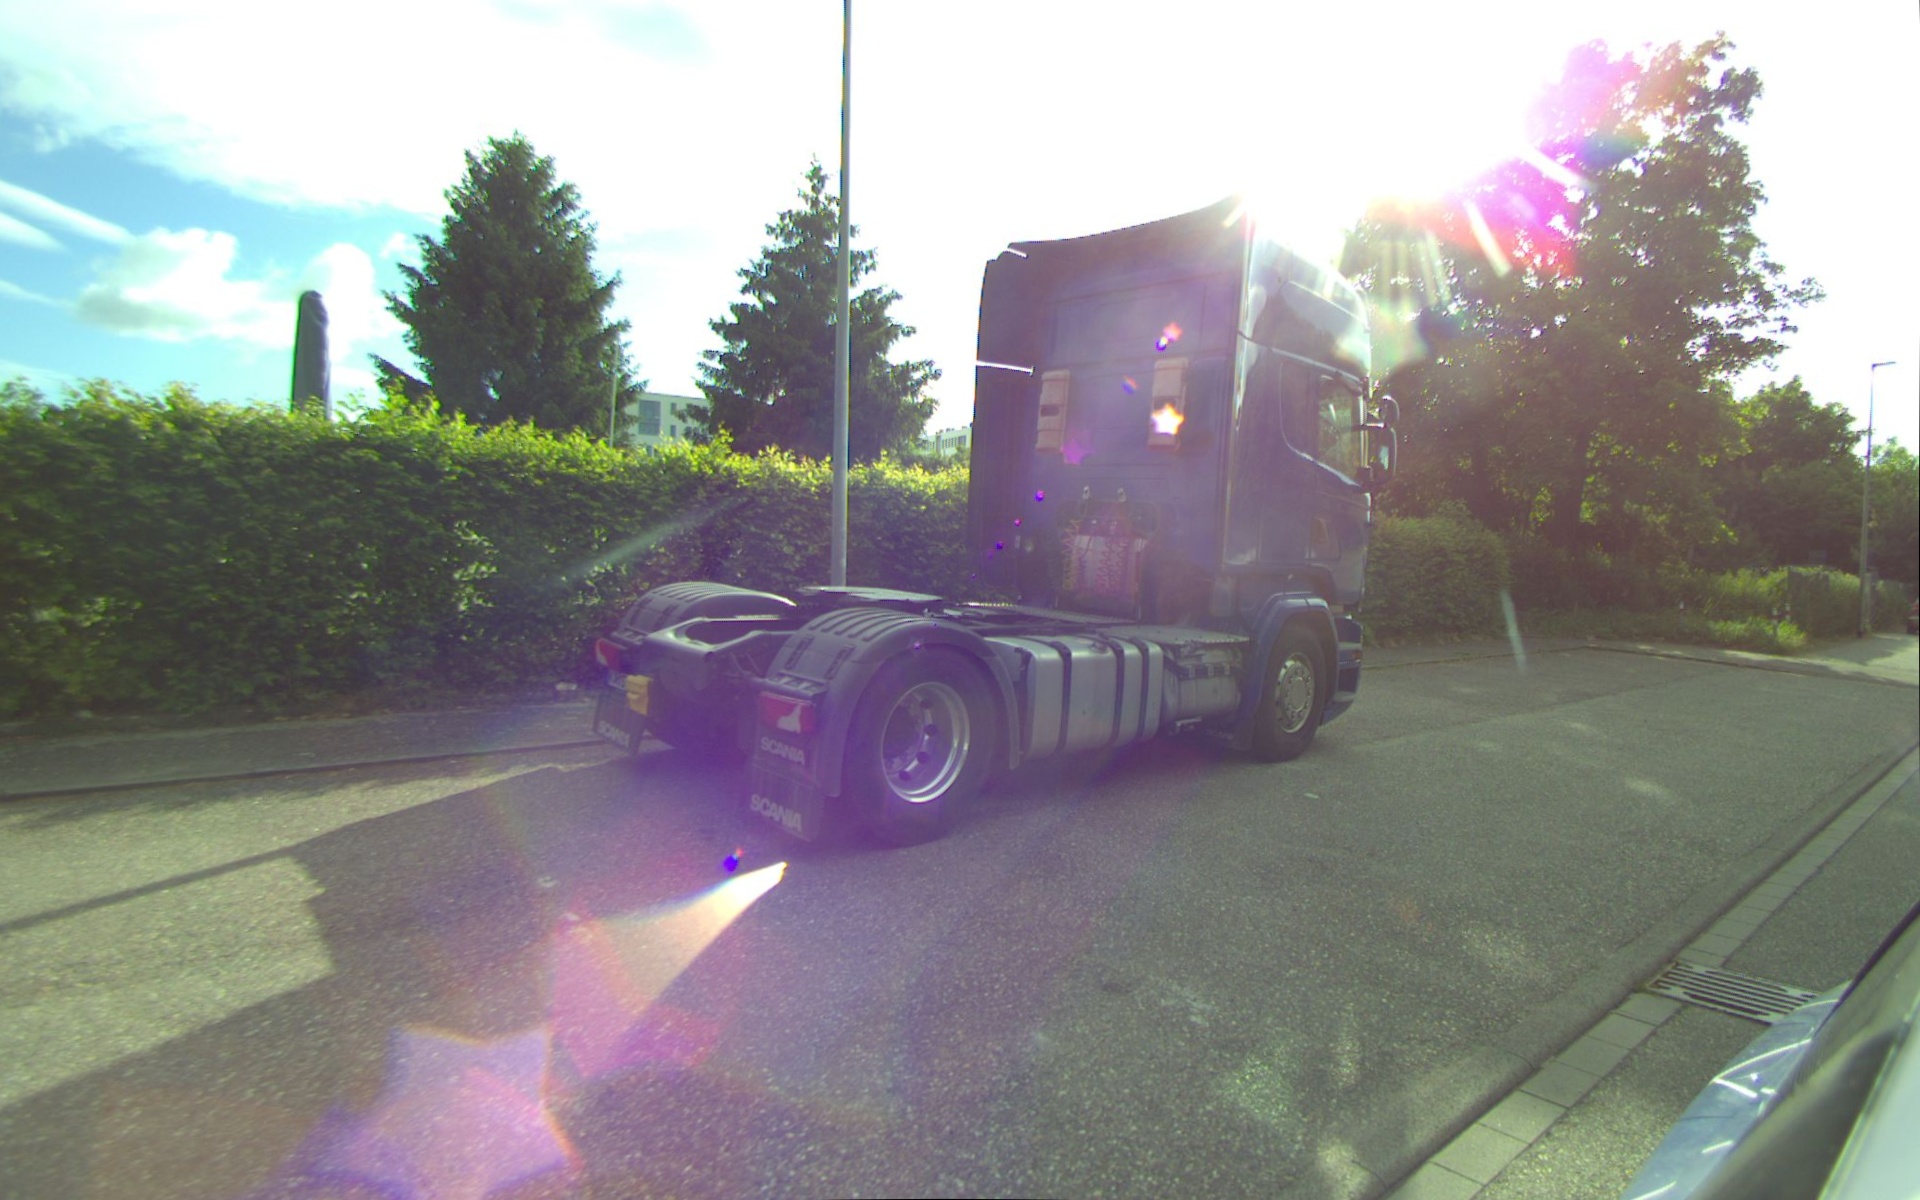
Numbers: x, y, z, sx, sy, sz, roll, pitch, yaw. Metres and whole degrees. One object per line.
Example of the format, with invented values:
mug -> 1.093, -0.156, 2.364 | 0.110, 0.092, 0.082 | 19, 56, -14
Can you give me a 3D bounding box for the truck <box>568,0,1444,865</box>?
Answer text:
truck -> 0.779, -0.987, 7.363 | 6.177, 4.005, 2.600 | 0, 5, -43
